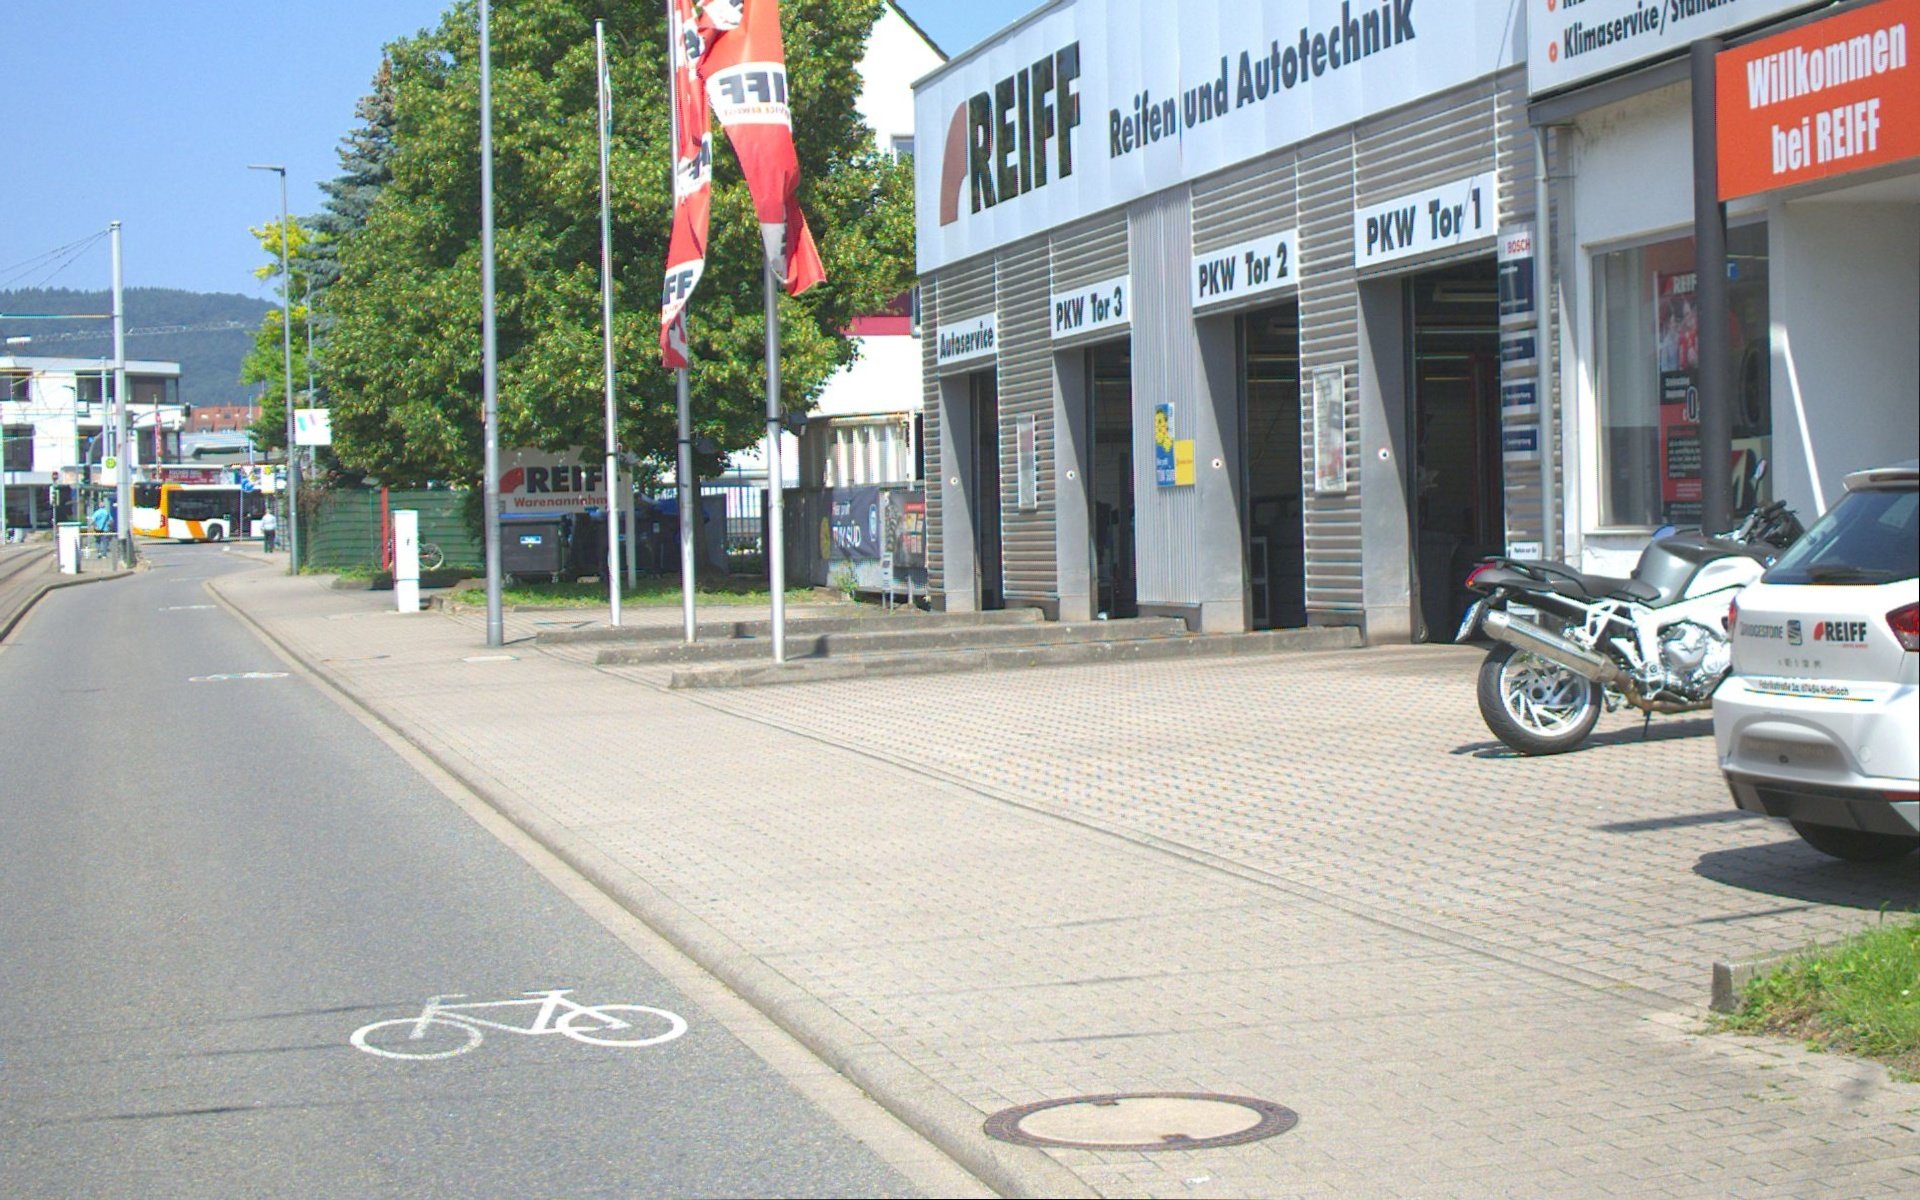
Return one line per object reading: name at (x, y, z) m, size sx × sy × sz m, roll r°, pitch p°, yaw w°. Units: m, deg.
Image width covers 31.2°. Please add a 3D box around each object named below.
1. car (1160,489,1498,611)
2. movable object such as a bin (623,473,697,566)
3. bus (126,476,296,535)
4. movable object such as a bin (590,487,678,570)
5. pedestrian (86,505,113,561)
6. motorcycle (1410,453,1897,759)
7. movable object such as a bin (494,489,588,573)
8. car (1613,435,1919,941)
car at (4.560, -0.635, 42.571) m, size 3.760 × 1.371 × 1.726 m, roll -2°, pitch 2°, yaw -18°
movable object such as a bin at (-5.142, -1.370, 58.929) m, size 0.978 × 1.541 × 1.321 m, roll -1°, pitch 0°, yaw -17°
bus at (-38.076, -4.844, 175.022) m, size 2.441 × 2.870 × 8.772 m, roll 0°, pitch 2°, yaw 39°
movable object such as a bin at (-5.759, -1.252, 60.735) m, size 1.317 × 1.425 × 0.884 m, roll -1°, pitch 0°, yaw 12°
pedestrian at (-26.862, -2.094, 107.307) m, size 0.743 × 1.734 × 0.727 m, roll -2°, pitch 2°, yaw -14°
motorcycle at (3.434, 0.015, 17.051) m, size 2.183 × 1.304 × 0.731 m, roll -5°, pitch 2°, yaw -15°
movable object such as a bin at (-7.430, -1.217, 61.012) m, size 1.385 × 1.425 × 0.990 m, roll -1°, pitch 0°, yaw 12°
car at (4.475, 0.084, 11.472) m, size 3.986 × 1.457 × 1.890 m, roll -5°, pitch 2°, yaw -15°
